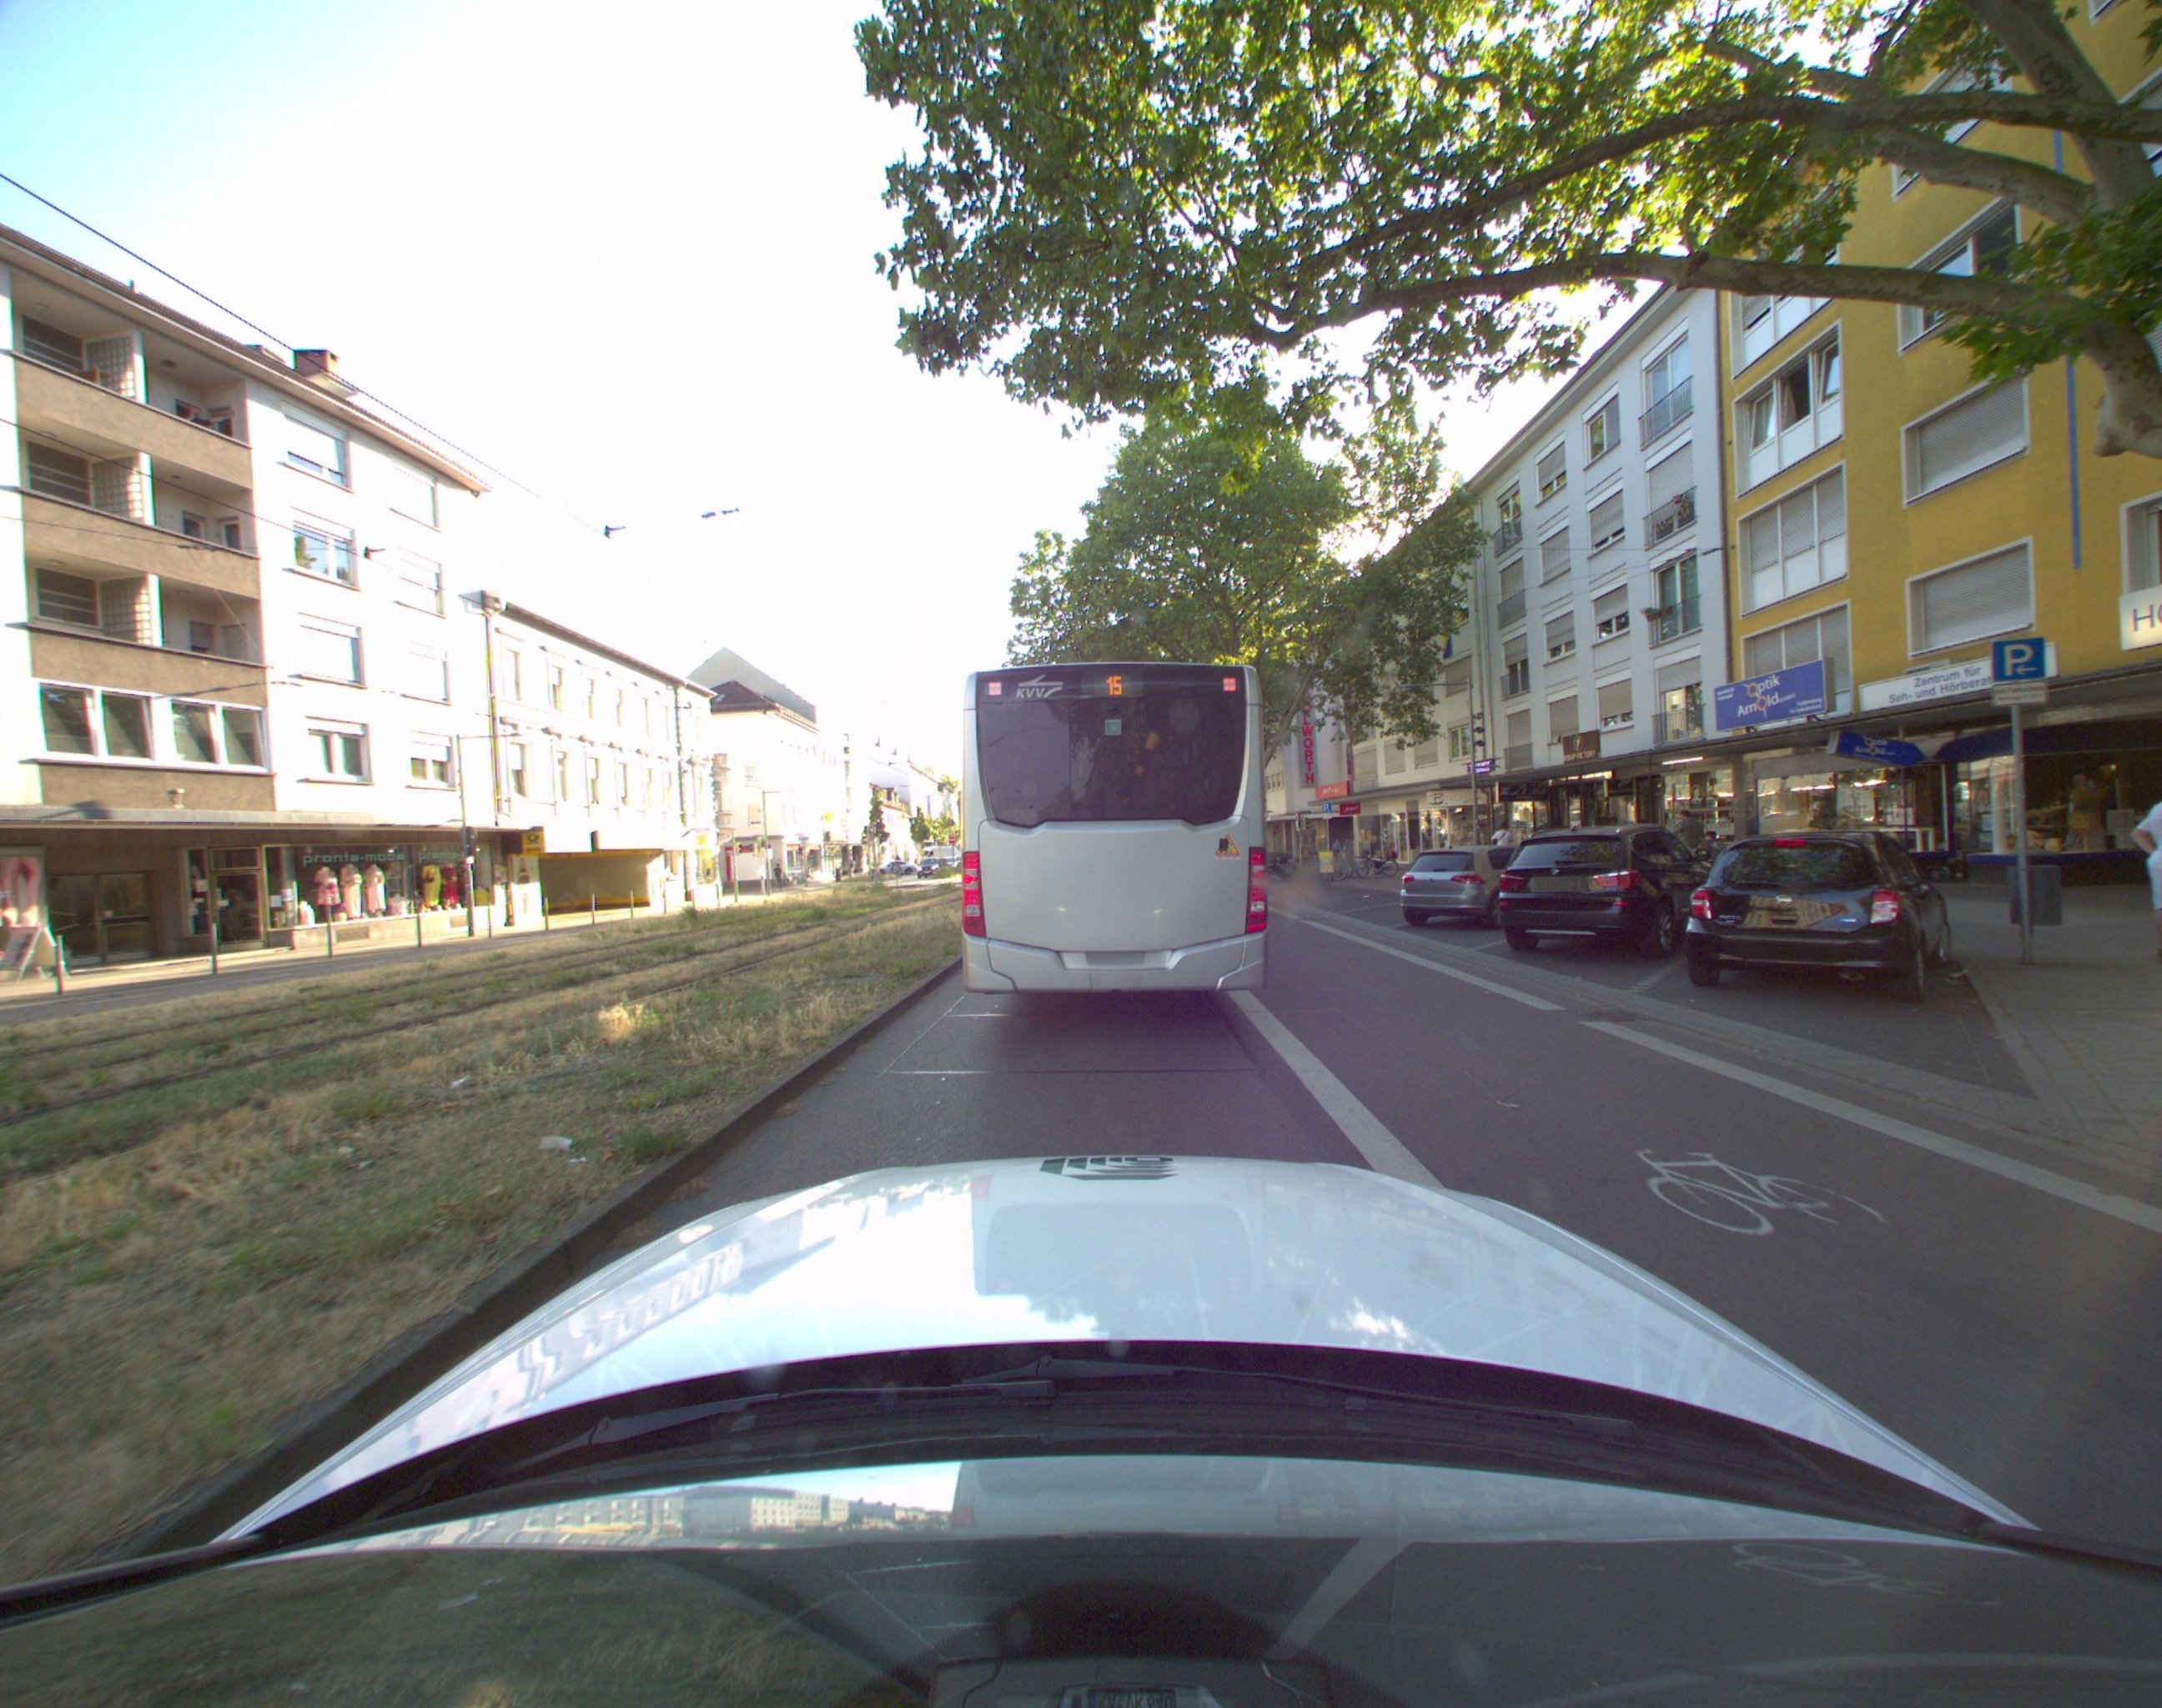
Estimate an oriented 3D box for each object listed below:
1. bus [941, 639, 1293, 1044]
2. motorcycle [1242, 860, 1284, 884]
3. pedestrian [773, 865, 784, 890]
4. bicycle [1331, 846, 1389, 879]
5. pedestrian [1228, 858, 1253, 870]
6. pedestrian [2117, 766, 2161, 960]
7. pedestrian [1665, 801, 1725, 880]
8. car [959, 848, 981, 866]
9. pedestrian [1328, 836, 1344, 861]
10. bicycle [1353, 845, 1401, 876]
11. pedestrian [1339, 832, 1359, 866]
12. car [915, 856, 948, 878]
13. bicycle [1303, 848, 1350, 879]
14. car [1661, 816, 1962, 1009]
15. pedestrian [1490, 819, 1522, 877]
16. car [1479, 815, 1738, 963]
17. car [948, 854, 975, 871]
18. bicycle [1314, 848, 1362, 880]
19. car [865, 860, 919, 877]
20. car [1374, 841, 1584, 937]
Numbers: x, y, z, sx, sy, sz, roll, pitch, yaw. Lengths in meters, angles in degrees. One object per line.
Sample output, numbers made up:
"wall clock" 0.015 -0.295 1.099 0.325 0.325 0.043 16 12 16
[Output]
"bus" 0.464 -0.125 9.902 2.667 3.083 7.120 -2 1 3
"motorcycle" 7.457 0.744 33.341 1.566 0.892 0.544 -3 0 -1
"pedestrian" -20.596 1.598 55.475 0.423 1.713 0.509 -3 0 6
"bicycle" 11.619 0.333 33.968 2.069 1.233 0.833 -4 0 6
"pedestrian" 8.625 0.520 44.167 1.250 0.589 0.482 -2 0 0
"pedestrian" 10.392 0.077 7.799 0.519 1.832 0.470 -3 0 -32
"pedestrian" 14.711 -0.315 19.523 0.703 1.791 0.789 -6 0 8
"car" -13.110 0.302 95.987 1.988 2.013 3.999 -3 0 -1
"pedestrian" 17.638 -0.379 56.293 0.746 1.679 0.834 -3 2 -4
"bicycle" 12.454 0.274 34.340 1.753 1.154 0.680 -4 0 10
"pedestrian" 14.287 -0.268 43.392 0.777 1.794 0.764 -3 0 2
"car" -11.903 1.019 65.199 1.715 1.509 3.479 -5 0 3
"bicycle" 10.965 0.424 36.470 1.864 1.189 0.713 -6 -1 10
"car" 7.685 0.449 8.475 3.626 1.540 1.721 -3 0 -39
"pedestrian" 14.173 -0.201 27.165 0.639 1.876 0.826 -3 0 7
"car" 7.521 0.373 11.458 4.172 1.681 1.789 -3 0 -39
"car" -12.140 0.882 83.249 1.773 1.450 4.049 -5 1 4
"bicycle" 11.197 0.425 35.453 1.783 1.189 0.671 -6 -1 -7
"car" -18.124 1.377 78.220 4.571 1.412 1.979 -3 0 -35
"car" 7.641 0.588 15.496 4.196 1.451 1.790 -3 0 -36
